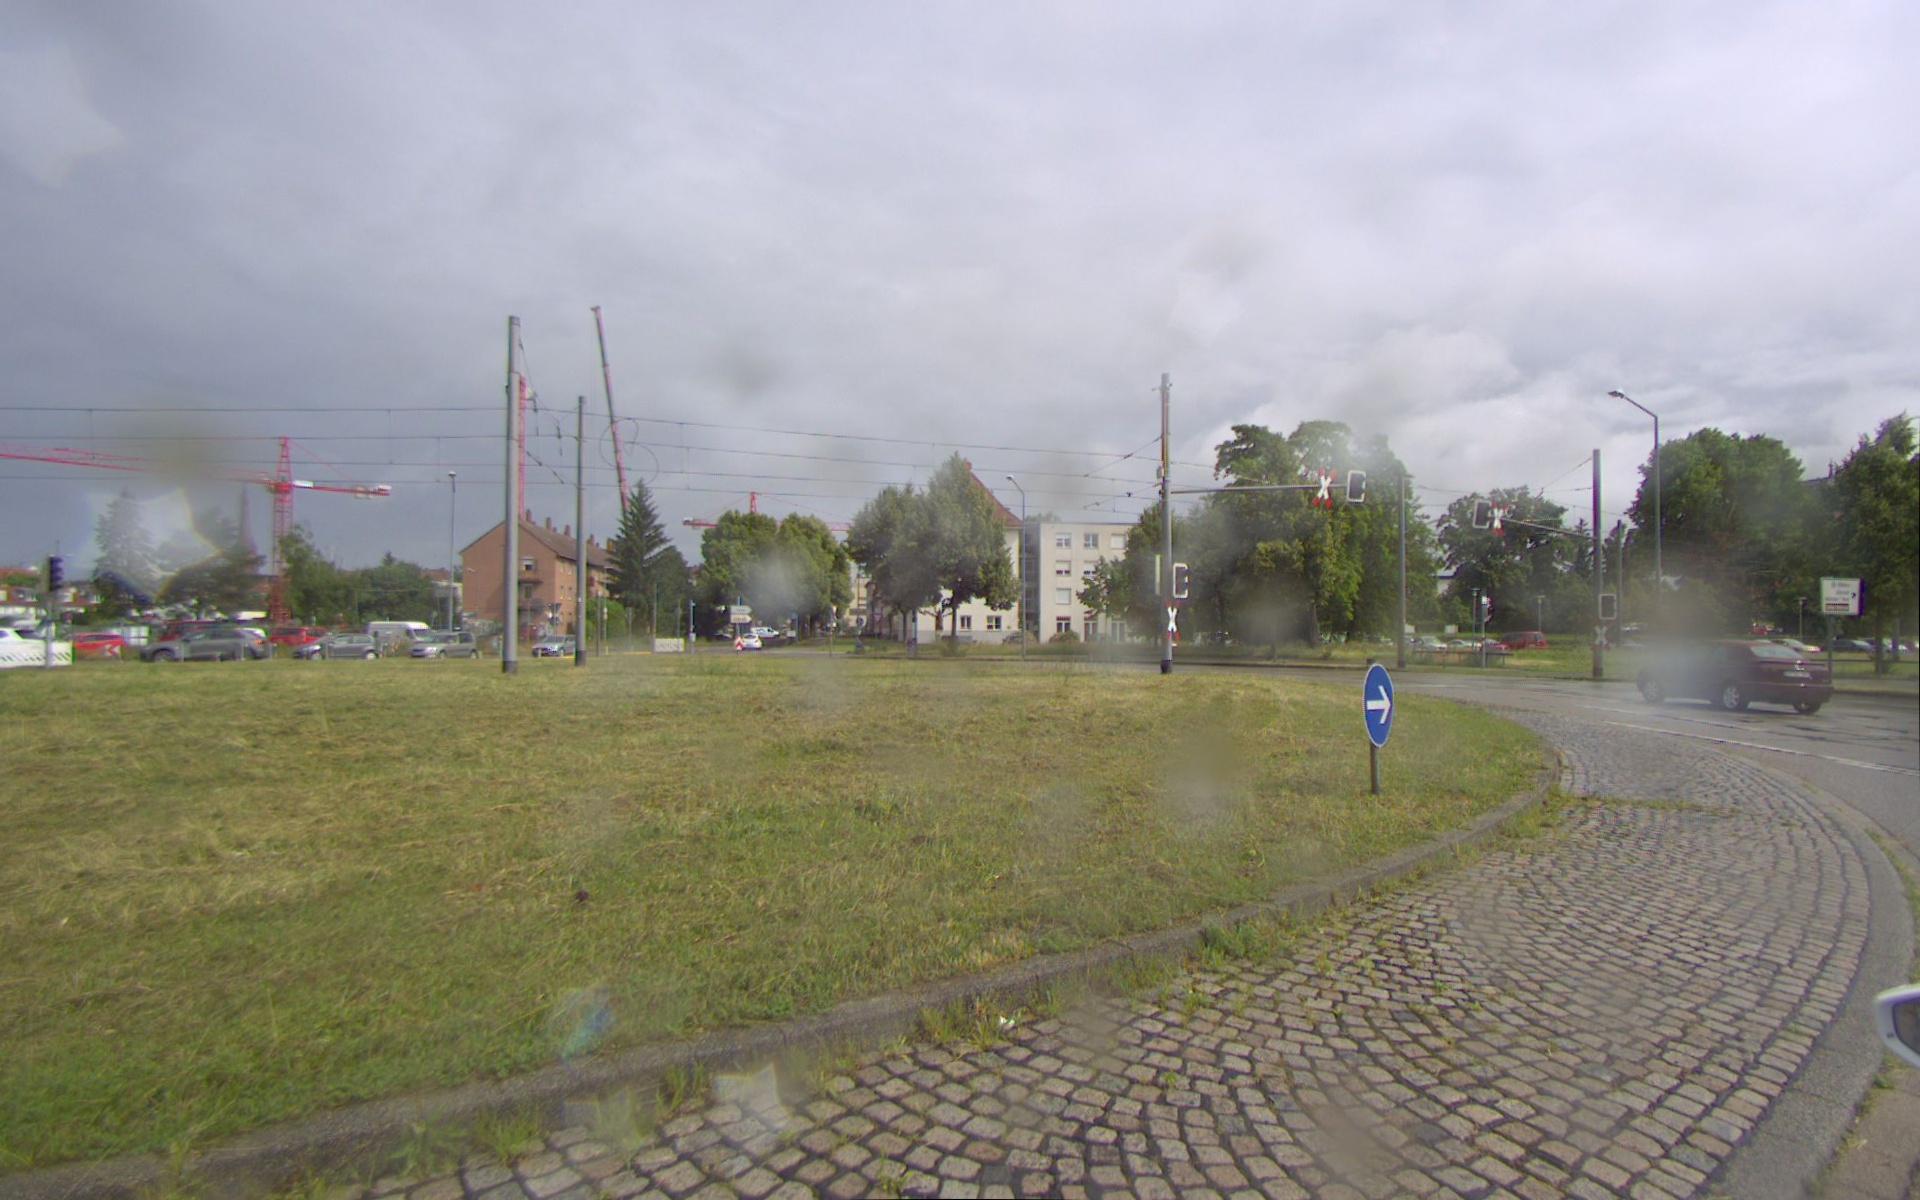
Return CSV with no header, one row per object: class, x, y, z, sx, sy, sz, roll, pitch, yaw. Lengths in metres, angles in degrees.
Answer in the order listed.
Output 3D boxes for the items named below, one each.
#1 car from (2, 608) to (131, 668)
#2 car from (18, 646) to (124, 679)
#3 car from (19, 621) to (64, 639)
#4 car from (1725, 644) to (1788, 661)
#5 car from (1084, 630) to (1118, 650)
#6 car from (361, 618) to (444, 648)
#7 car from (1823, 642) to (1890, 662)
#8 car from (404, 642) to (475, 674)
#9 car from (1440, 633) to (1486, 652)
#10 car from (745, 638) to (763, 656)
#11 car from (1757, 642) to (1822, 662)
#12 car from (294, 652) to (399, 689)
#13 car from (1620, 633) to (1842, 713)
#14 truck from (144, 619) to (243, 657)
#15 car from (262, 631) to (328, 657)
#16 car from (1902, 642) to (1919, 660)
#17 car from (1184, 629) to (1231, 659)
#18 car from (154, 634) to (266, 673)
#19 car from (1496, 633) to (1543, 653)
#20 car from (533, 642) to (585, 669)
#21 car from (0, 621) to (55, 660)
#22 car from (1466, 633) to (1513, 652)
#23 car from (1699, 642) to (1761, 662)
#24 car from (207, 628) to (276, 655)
car,-40.136,1.681,45.240,3.950,2.601,1.785,1,-1,-28
car,-49.427,3.437,55.964,3.946,1.706,1.988,1,-1,-25
car,-93.227,3.059,101.943,3.527,1.745,1.501,0,-1,10
car,65.957,4.346,83.258,1.816,1.325,3.975,1,-2,-7
car,12.241,3.483,87.598,1.818,1.573,4.099,0,1,-9
car,-44.319,2.626,79.847,6.140,2.112,2.044,2,-1,17
car,75.260,4.335,84.394,1.816,1.580,3.975,1,-2,-7
car,-27.252,3.007,52.697,1.518,1.581,3.503,0,-2,8
car,39.575,3.336,79.124,1.614,1.481,3.609,1,-2,-5
car,-18.426,4.176,89.902,1.523,1.473,3.493,0,-1,-12
car,68.705,4.302,83.234,1.816,1.580,3.975,1,-2,-7
car,-29.657,3.357,48.632,1.770,1.606,3.983,0,-1,38
car,16.295,1.490,21.511,1.686,1.482,4.001,0,-1,0
truck,-51.009,2.501,66.843,5.981,2.241,2.397,2,-1,21
car,-48.914,3.244,73.914,3.920,1.722,1.931,2,-1,16
car,82.701,4.337,85.081,1.816,1.580,3.975,1,-2,-7
car,18.974,3.349,77.265,2.073,2.085,5.159,0,-1,-4
car,-31.686,2.233,42.570,3.637,1.581,1.560,1,-1,-33
car,44.482,3.416,79.921,1.618,1.530,3.650,0,-2,-2
car,-25.605,3.544,64.227,1.568,1.581,3.552,0,-1,7
car,-38.097,1.574,39.435,3.445,1.530,1.494,1,-1,-18
car,42.007,3.341,79.710,1.614,1.481,3.609,1,-2,-5
car,63.332,4.297,82.685,1.816,1.580,3.975,1,-2,-7
car,-51.960,3.015,72.654,3.919,1.722,1.859,2,-2,12
